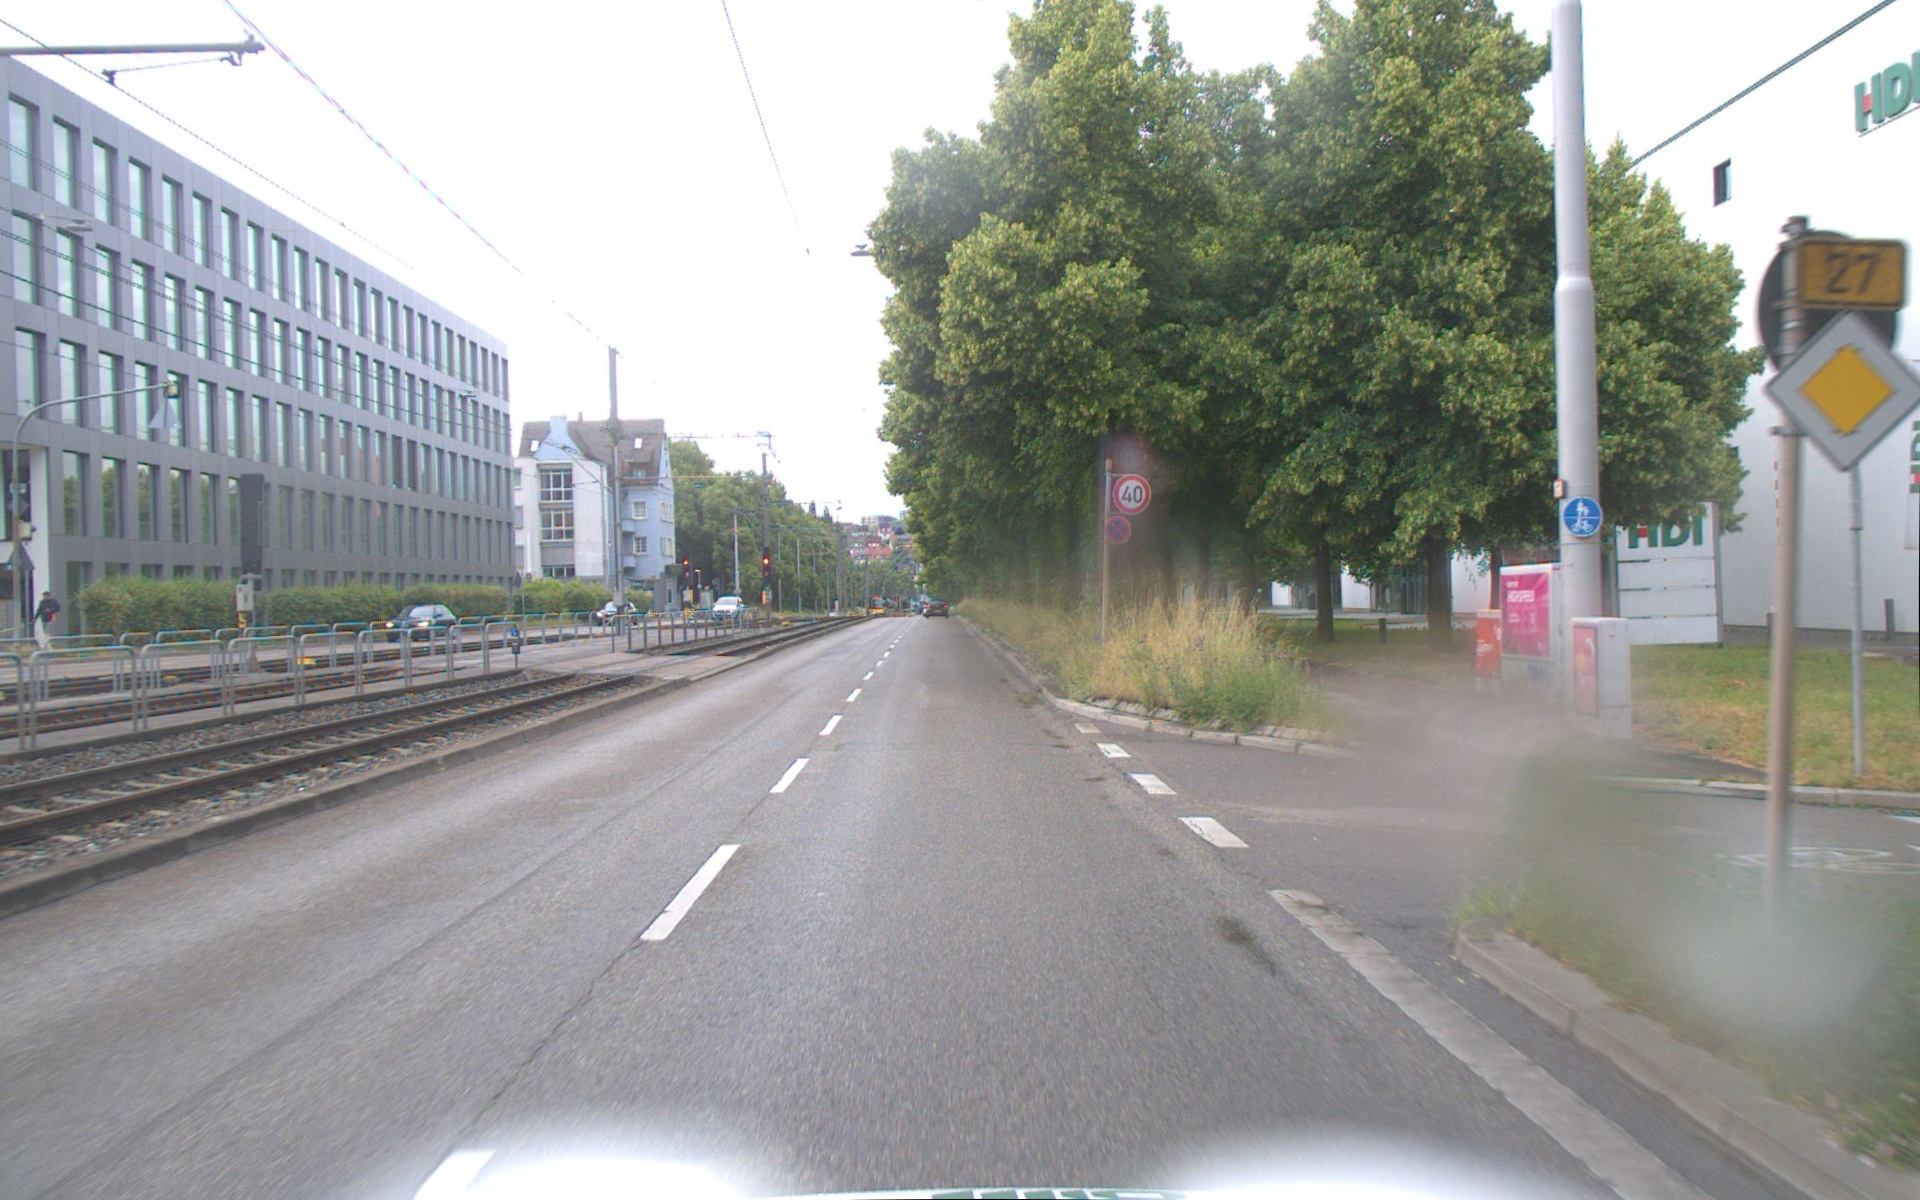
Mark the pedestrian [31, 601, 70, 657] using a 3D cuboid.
[{"bbox_3d":[-27.611,0.866,50.223,0.709,1.676,0.845,0,-1,0],"label":"pedestrian"}]

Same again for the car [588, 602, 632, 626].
[{"bbox_3d":[-20.728,0.821,98.118,1.761,1.370,4.258,-2,0,-1],"label":"car"}]

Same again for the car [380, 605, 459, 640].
[{"bbox_3d":[-20.793,0.856,63.767,1.720,1.266,3.987,-2,0,-1],"label":"car"}]

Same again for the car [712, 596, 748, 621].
[{"bbox_3d":[-16.712,0.611,120.376,1.863,1.673,4.884,-2,0,1],"label":"car"}]

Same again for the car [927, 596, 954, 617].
[{"bbox_3d":[-1.408,0.491,120.083,1.942,1.466,4.473,-2,0,-1],"label":"car"}]
